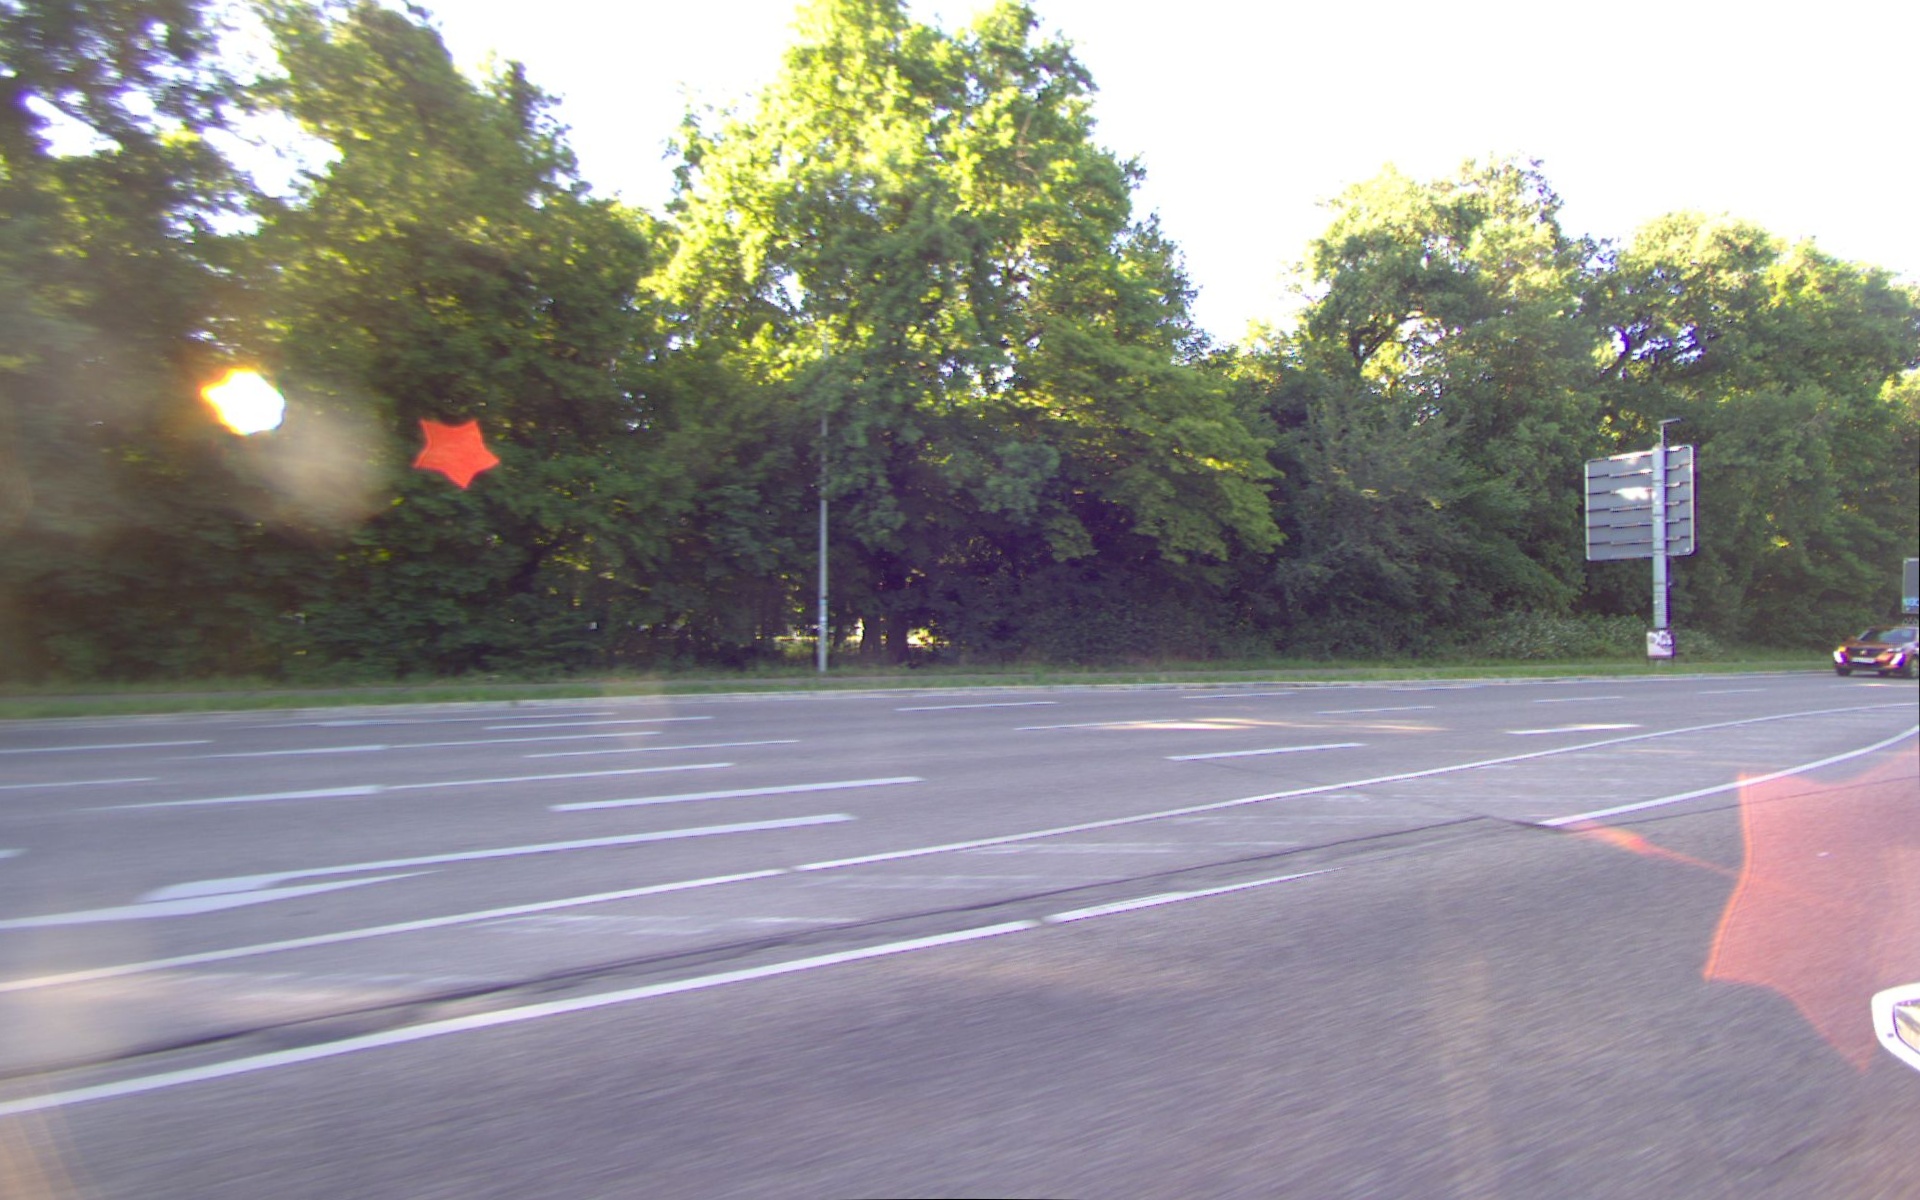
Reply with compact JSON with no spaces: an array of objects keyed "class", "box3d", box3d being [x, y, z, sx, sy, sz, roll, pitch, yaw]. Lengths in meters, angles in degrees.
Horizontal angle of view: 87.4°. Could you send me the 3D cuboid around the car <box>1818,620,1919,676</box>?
[{"class":"car","box3d":[27.681,1.392,29.837,4.199,1.565,1.819,1,-1,-26]}]
